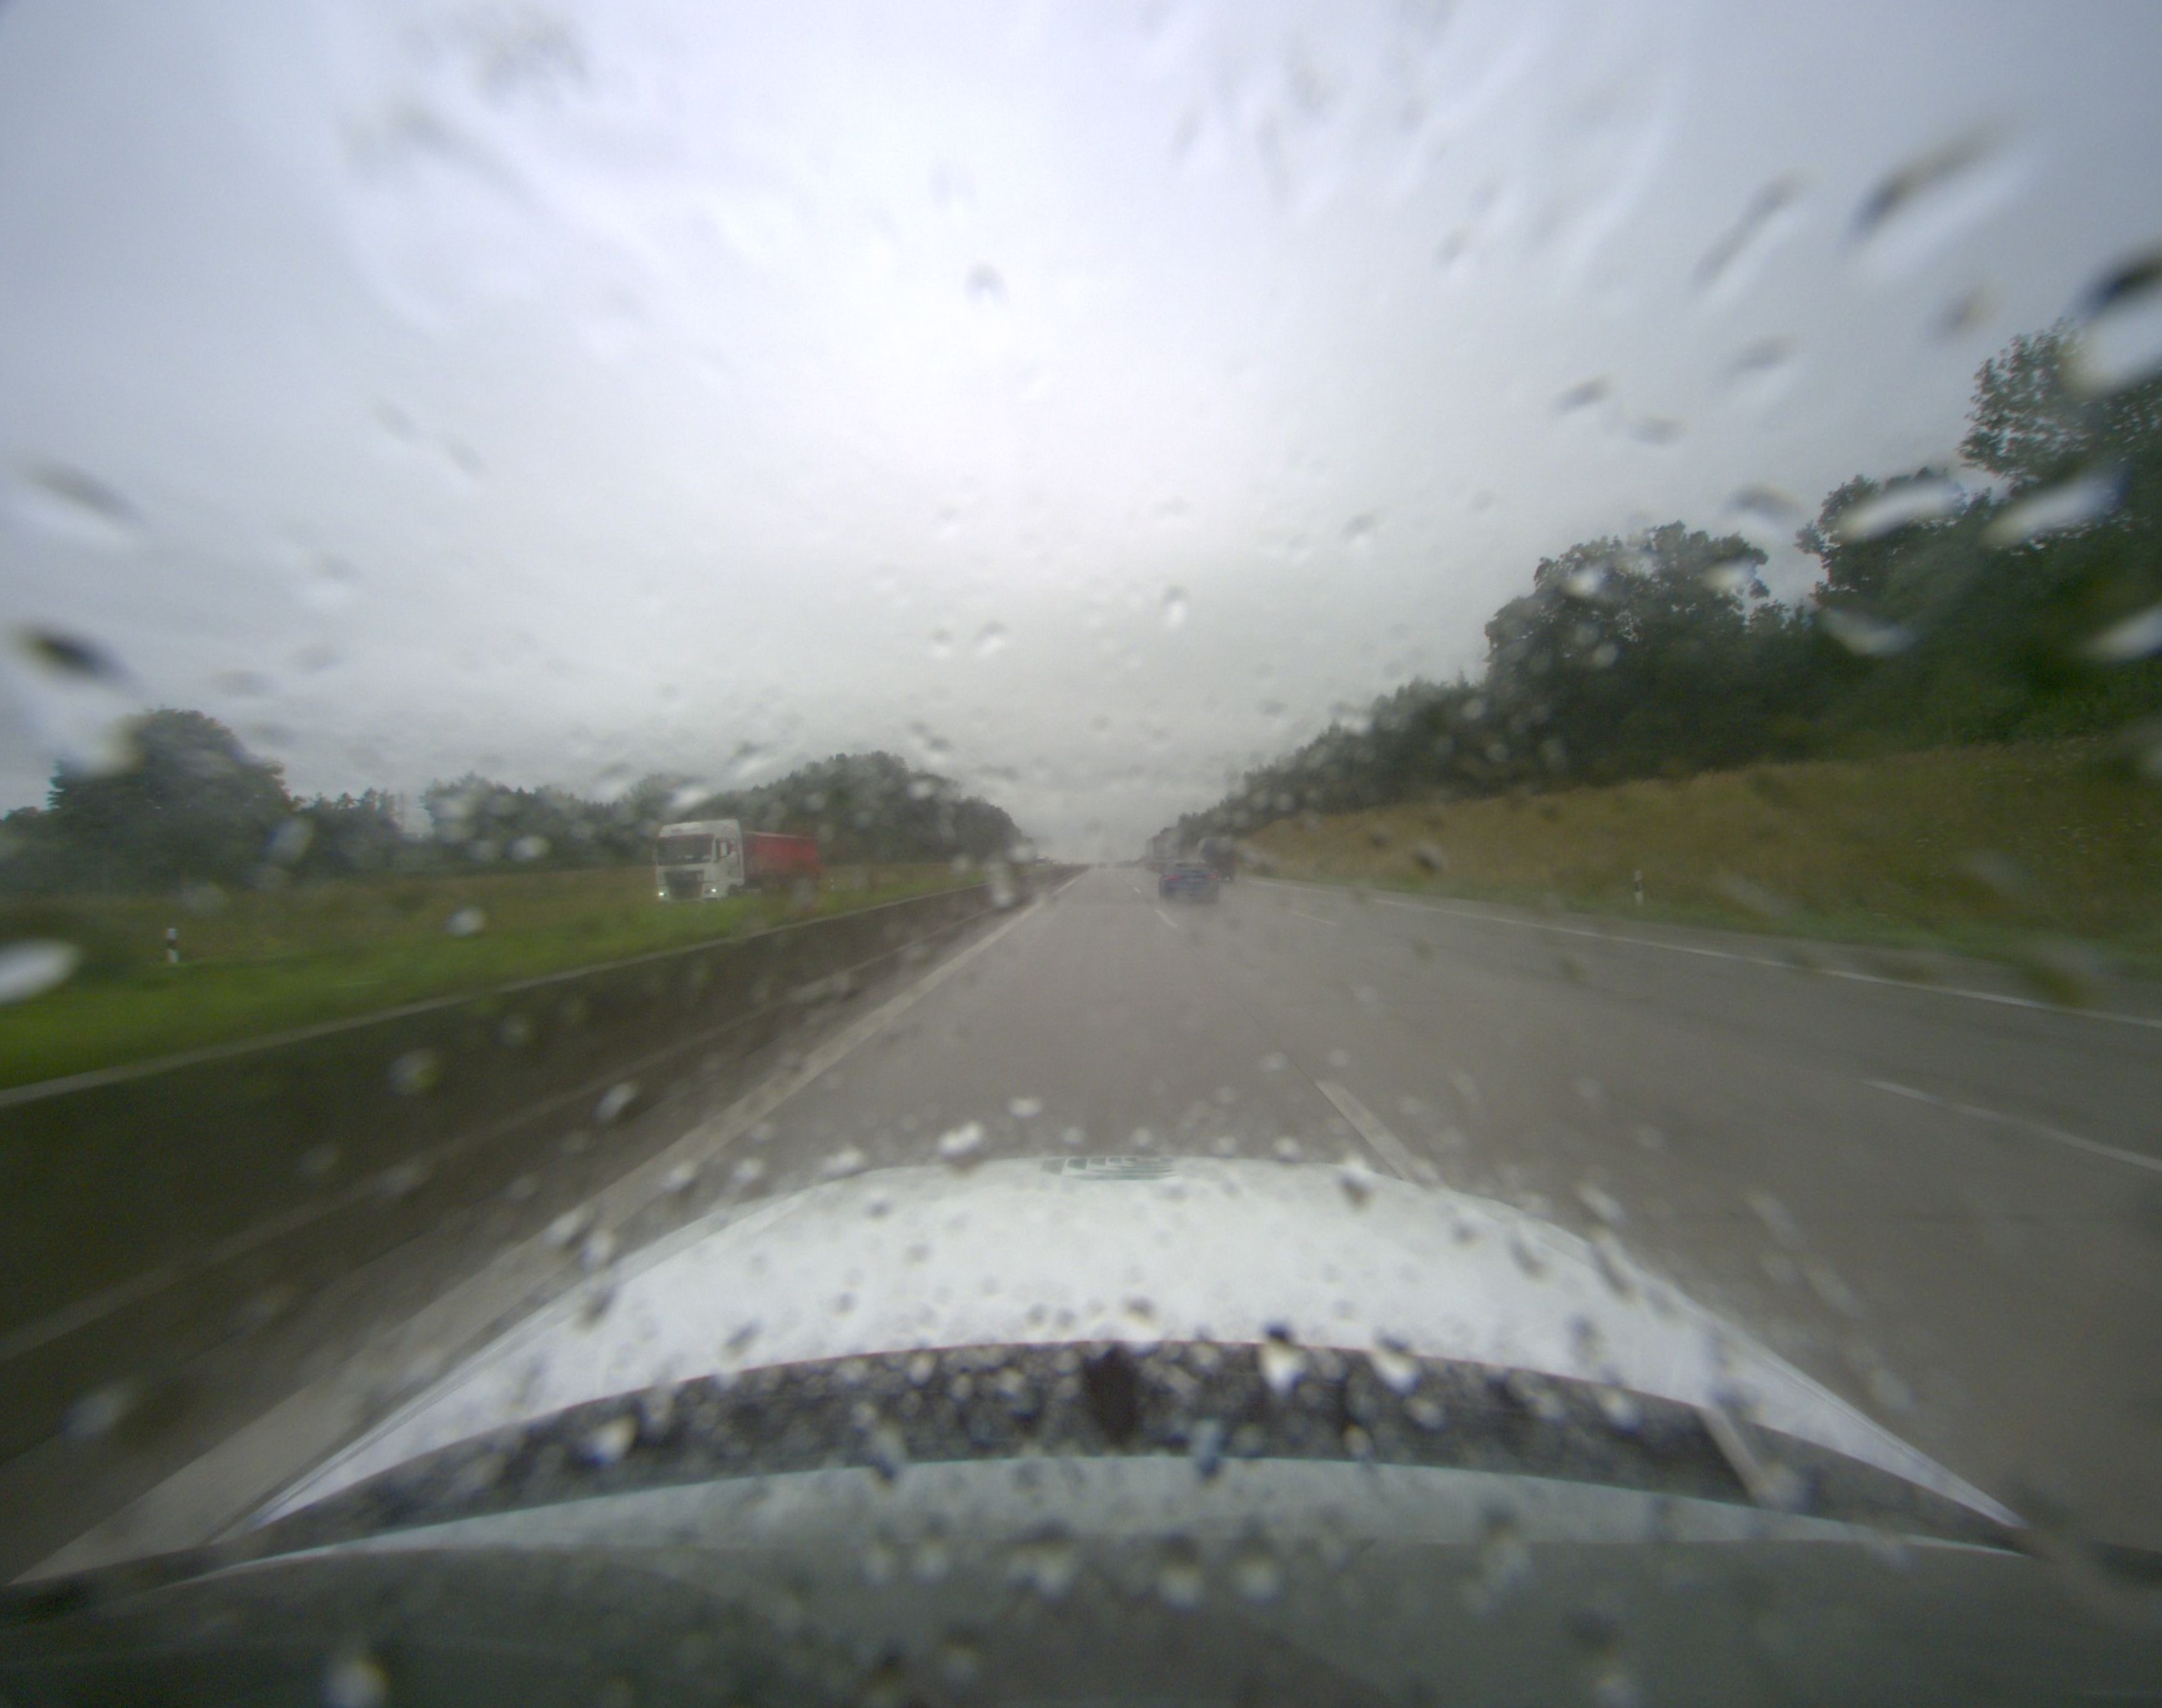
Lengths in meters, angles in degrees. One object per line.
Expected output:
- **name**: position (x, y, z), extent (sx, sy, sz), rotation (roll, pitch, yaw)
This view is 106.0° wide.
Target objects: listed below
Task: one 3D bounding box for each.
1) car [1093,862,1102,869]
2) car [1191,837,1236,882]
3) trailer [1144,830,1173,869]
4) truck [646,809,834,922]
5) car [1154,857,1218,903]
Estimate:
- **car**: position (3.198, 2.260, 160.423), extent (1.723, 1.331, 4.430), rotation (-1, -1, 1)
- **car**: position (8.167, 0.349, 50.861), extent (1.933, 2.659, 6.588), rotation (0, -1, 2)
- **trailer**: position (9.464, -0.357, 101.268), extent (2.696, 4.380, 15.209), rotation (-1, -1, 2)
- **truck**: position (-15.110, 0.609, 37.857), extent (2.744, 4.207, 13.106), rotation (-3, -2, 2)
- **car**: position (3.648, 0.940, 29.085), extent (1.723, 1.459, 4.672), rotation (-2, -2, 1)
